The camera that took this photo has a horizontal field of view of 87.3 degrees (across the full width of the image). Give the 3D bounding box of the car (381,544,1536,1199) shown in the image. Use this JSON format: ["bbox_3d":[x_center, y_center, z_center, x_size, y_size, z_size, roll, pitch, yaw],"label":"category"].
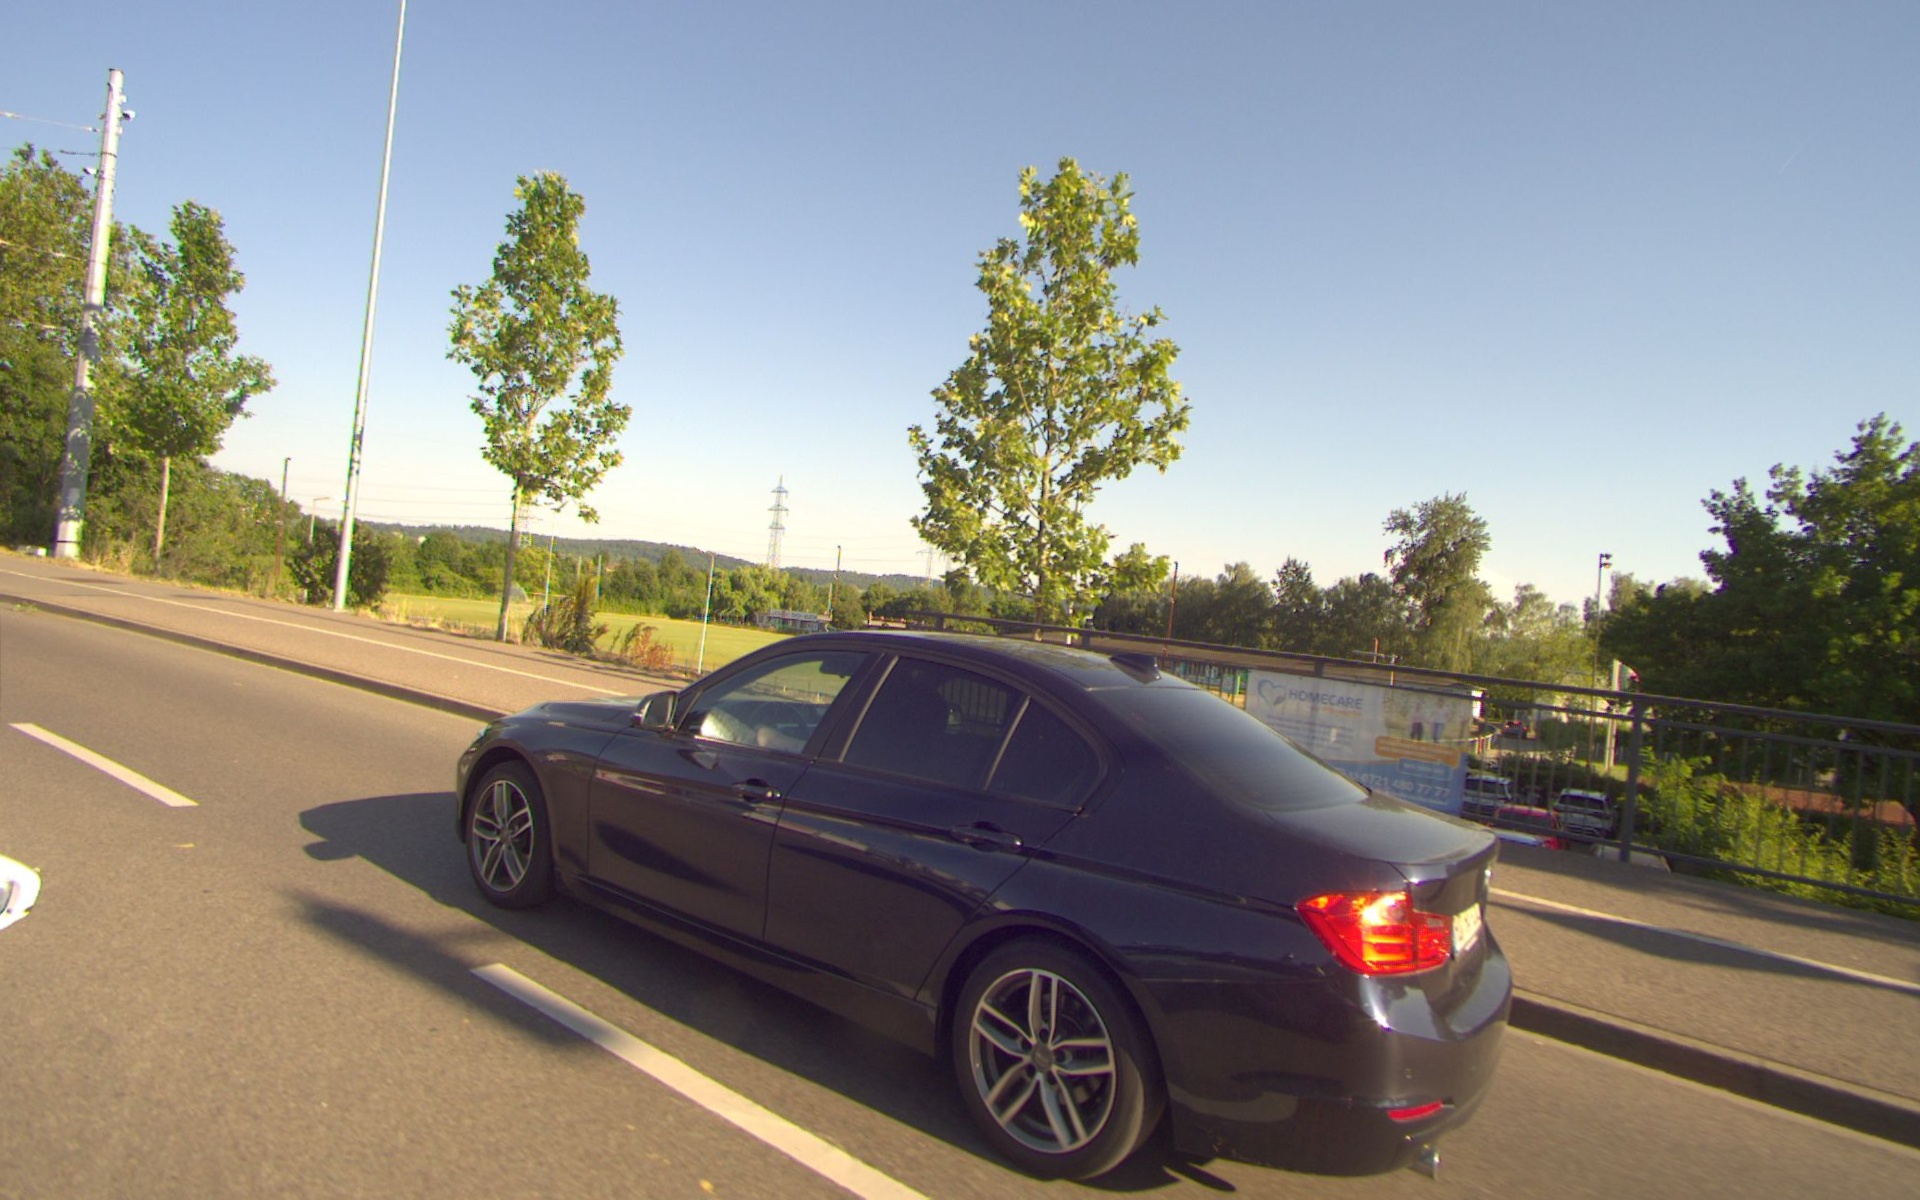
[{"bbox_3d":[-0.326,0.747,4.238,4.515,1.484,1.867,6,-2,36],"label":"car"}]

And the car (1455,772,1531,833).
[{"bbox_3d":[18.272,6.865,34.407,1.667,1.587,3.913,6,-3,36],"label":"car"}]

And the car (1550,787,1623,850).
[{"bbox_3d":[20.456,7.053,32.790,1.654,1.518,3.697,6,-3,36],"label":"car"}]

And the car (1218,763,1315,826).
[{"bbox_3d":[9.277,5.807,30.312,1.556,1.464,3.697,6,-3,36],"label":"car"}]

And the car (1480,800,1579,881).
[{"bbox_3d":[14.937,6.200,26.298,1.725,1.464,3.697,6,-3,36],"label":"car"}]

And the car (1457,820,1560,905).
[{"bbox_3d":[12.009,5.646,21.940,1.473,1.230,3.094,6,-3,36],"label":"car"}]

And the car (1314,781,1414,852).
[{"bbox_3d":[11.301,5.951,28.008,1.642,1.466,3.697,5,-4,36],"label":"car"}]
